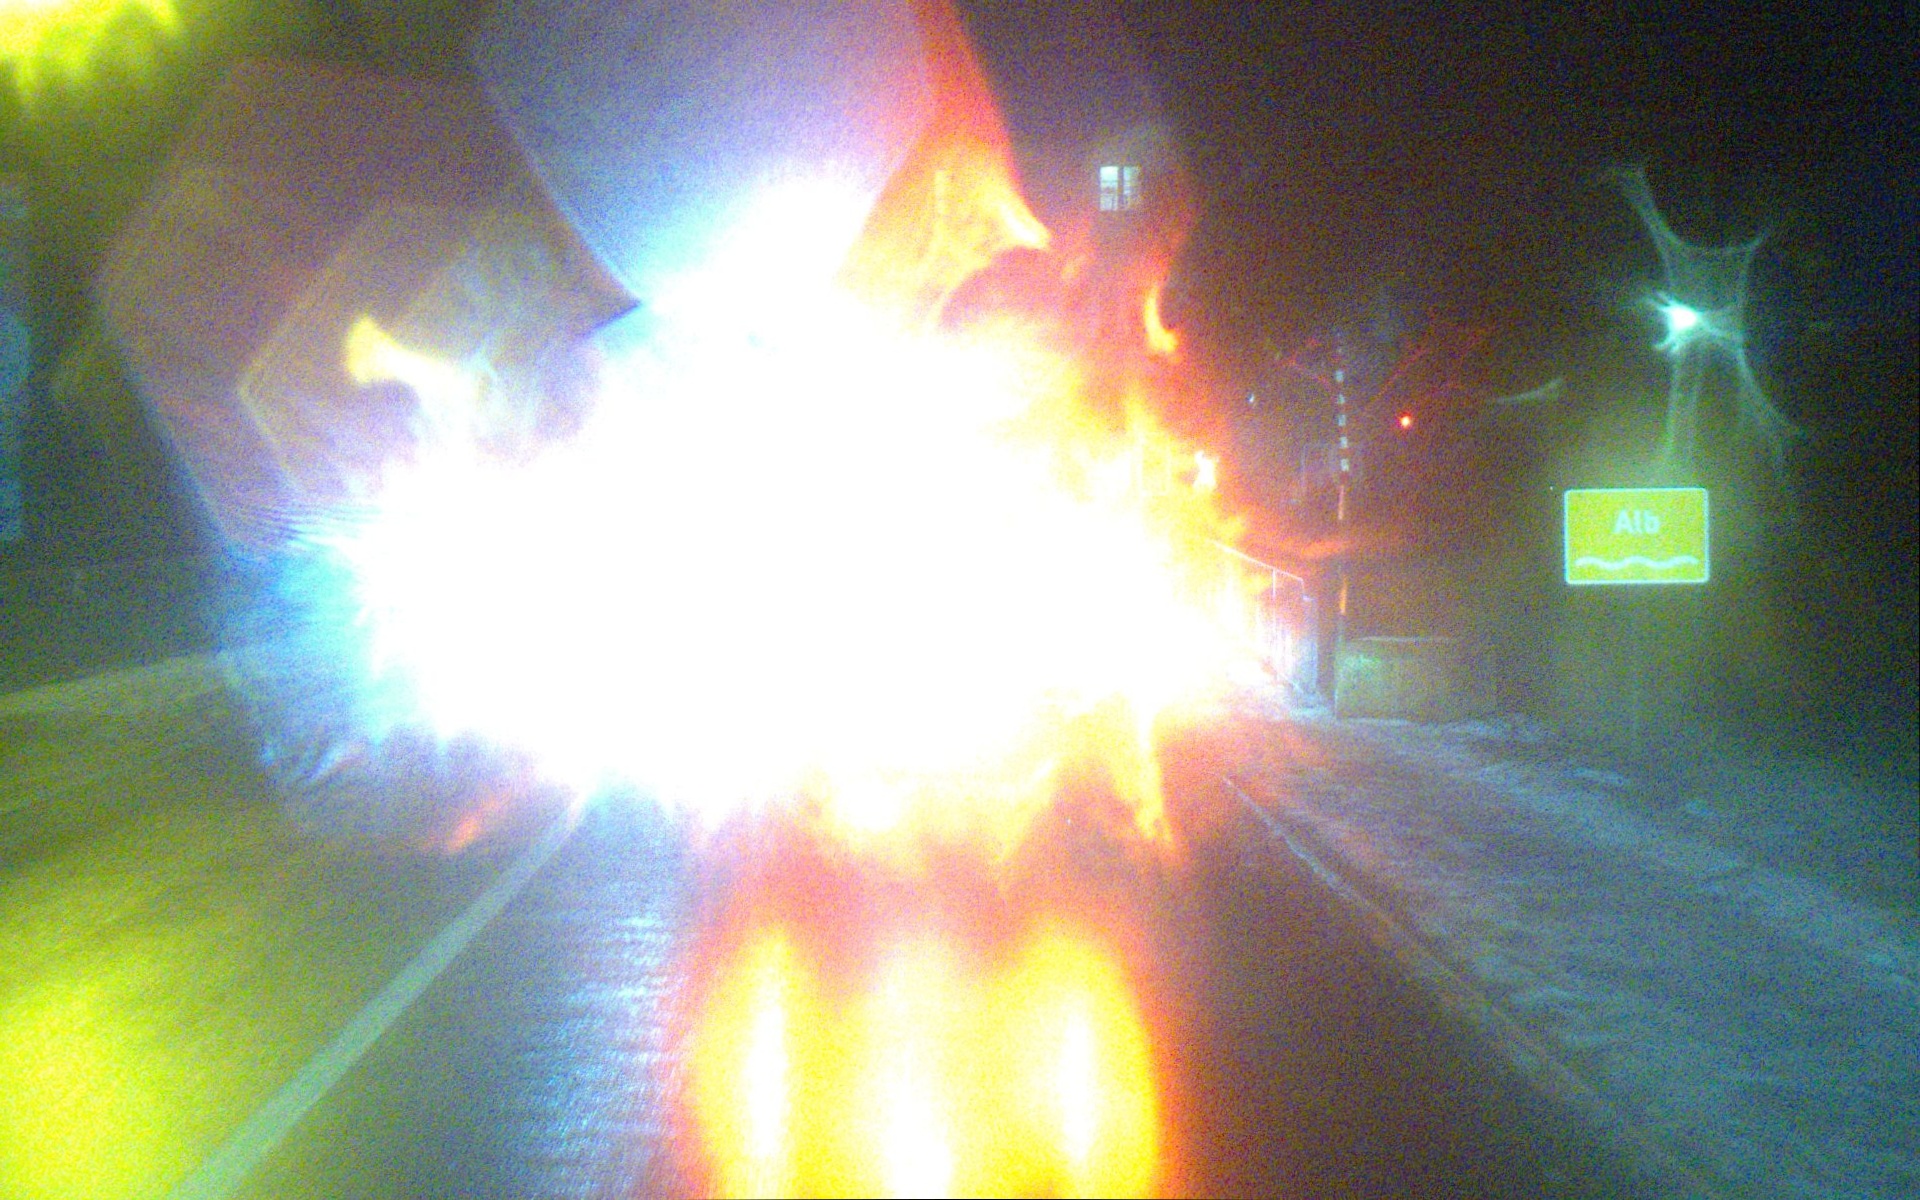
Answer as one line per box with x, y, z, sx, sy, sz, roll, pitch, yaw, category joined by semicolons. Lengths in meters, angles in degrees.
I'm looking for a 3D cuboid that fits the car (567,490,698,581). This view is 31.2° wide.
-6.076;-1.210;64.233;1.874;1.540;4.355;-4;1;1;car

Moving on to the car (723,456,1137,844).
-0.086;0.170;17.137;1.791;1.675;3.904;-1;2;1;car
